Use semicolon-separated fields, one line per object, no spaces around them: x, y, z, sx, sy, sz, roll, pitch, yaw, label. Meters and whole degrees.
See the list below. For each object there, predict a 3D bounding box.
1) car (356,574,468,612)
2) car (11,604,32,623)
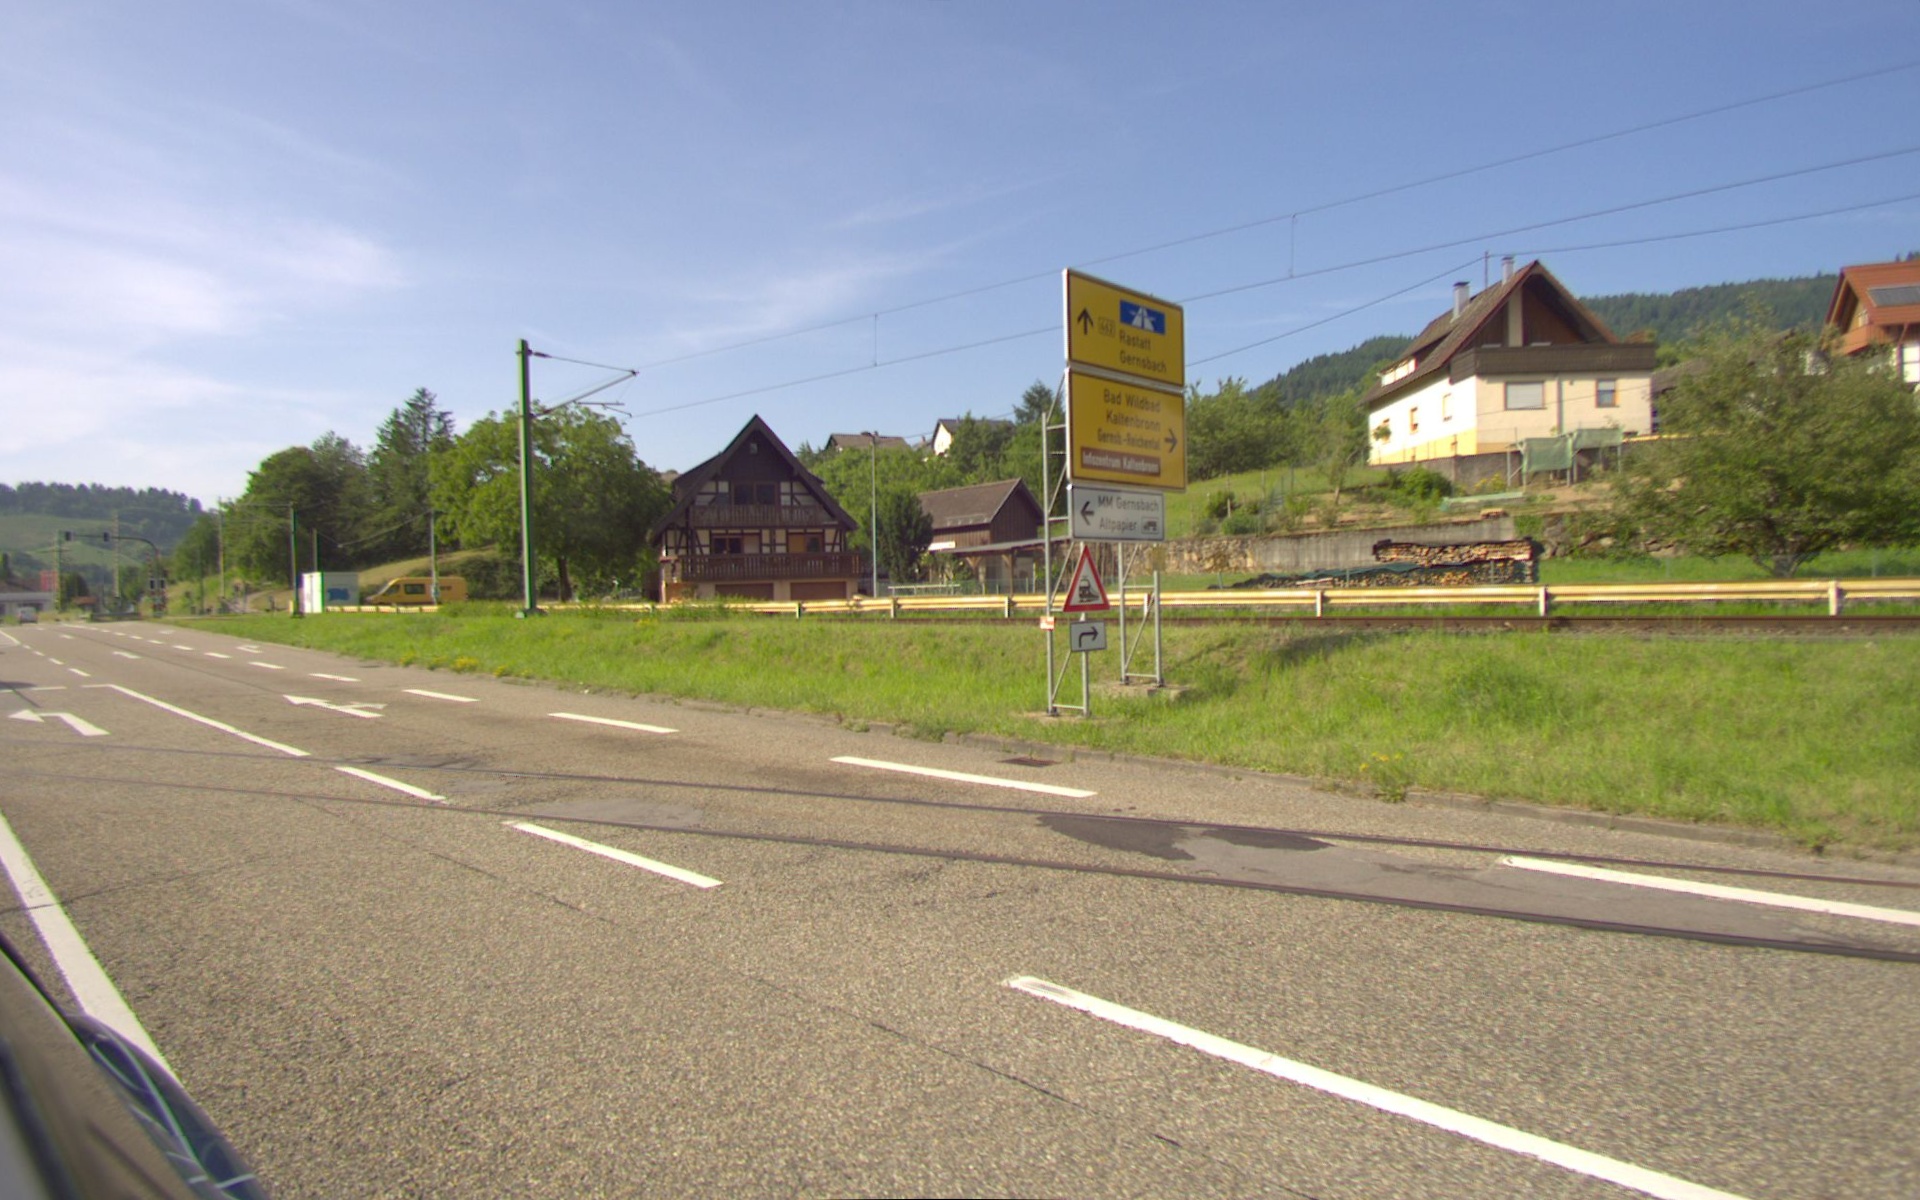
-40.996;-0.532;75.790;6.970;2.475;2.956;-3;0;-35;car
-132.565;1.972;142.922;2.095;2.454;5.232;-3;0;-43;car
